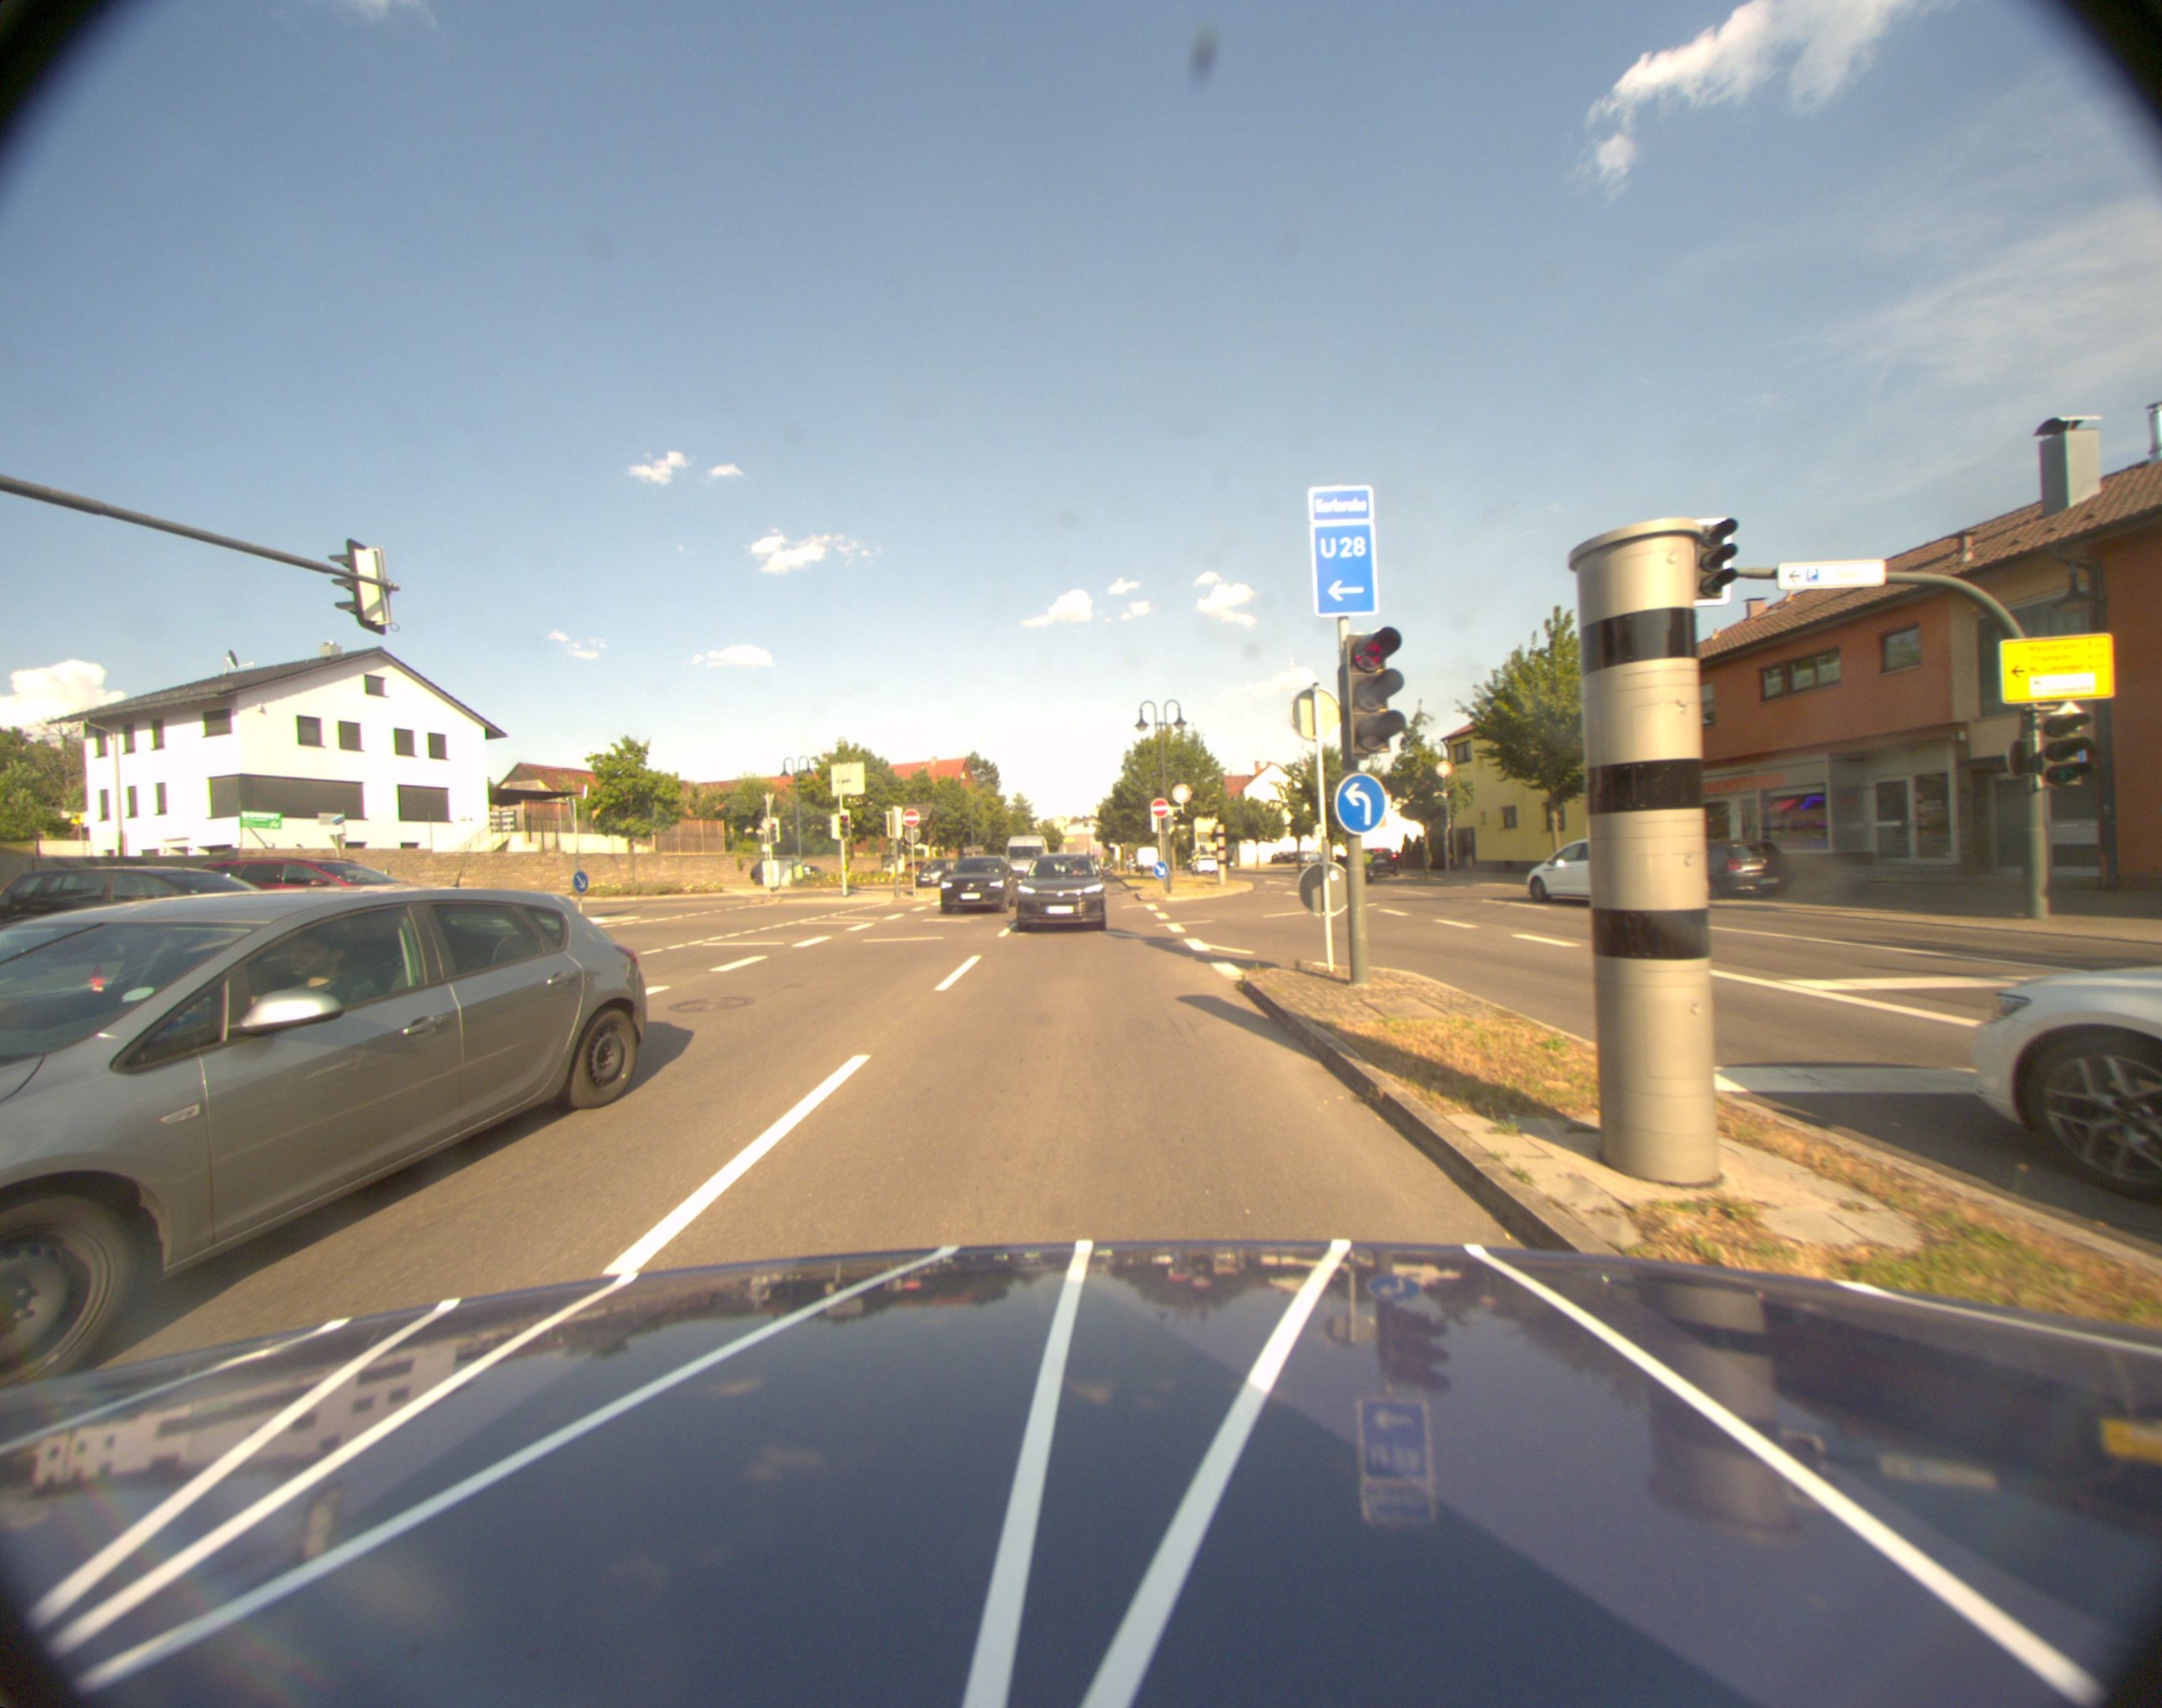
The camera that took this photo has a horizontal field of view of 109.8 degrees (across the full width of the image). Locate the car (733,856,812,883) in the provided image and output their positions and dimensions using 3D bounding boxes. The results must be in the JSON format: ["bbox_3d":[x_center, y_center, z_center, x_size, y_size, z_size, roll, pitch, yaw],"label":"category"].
[{"bbox_3d":[-18.246,0.894,45.006,4.072,1.448,1.680,-2,0,13],"label":"car"}]

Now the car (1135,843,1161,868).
[{"bbox_3d":[7.052,0.154,80.389,2.090,2.461,5.478,-2,0,-2],"label":"car"}]

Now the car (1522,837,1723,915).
[{"bbox_3d":[12.668,0.461,18.189,1.690,1.602,4.413,-2,0,1],"label":"car"}]

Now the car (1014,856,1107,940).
[{"bbox_3d":[-0.362,0.874,16.848,1.768,1.582,4.057,-2,0,1],"label":"car"}]

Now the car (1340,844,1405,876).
[{"bbox_3d":[15.331,0.300,40.221,1.859,1.586,4.461,-2,0,3],"label":"car"}]

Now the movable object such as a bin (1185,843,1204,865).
[{"bbox_3d":[13.152,-0.020,88.280,1.556,2.447,4.978,-1,0,2],"label":"movable object such as a bin"}]

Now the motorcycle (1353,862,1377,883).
[{"bbox_3d":[12.736,0.821,34.099,0.413,0.855,1.763,-2,0,1],"label":"motorcycle"}]

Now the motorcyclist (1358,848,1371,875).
[{"bbox_3d":[12.734,0.328,34.123,0.404,1.221,0.461,-2,0,-2],"label":"motorcyclist"}]

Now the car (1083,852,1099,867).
[{"bbox_3d":[1.347,0.680,98.153,1.816,1.861,4.001,-2,0,3],"label":"car"}]

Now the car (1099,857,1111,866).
[{"bbox_3d":[4.564,1.425,143.338,1.781,1.516,3.842,-2,0,9],"label":"car"}]

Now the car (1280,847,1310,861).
[{"bbox_3d":[24.646,0.013,87.501,3.438,1.555,1.583,-2,0,-38],"label":"car"}]

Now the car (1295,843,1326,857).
[{"bbox_3d":[25.569,-0.458,84.504,3.438,1.534,1.617,-1,0,-38],"label":"car"}]

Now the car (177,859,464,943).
[{"bbox_3d":[-16.630,0.983,16.831,4.251,1.616,1.861,-2,0,-5],"label":"car"}]

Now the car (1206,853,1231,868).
[{"bbox_3d":[13.604,0.639,75.434,1.761,1.403,4.000,-2,0,0],"label":"car"}]

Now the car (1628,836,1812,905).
[{"bbox_3d":[15.978,0.388,19.287,1.595,1.430,3.776,-6,0,5],"label":"car"}]

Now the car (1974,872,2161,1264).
[{"bbox_3d":[5.046,0.813,1.236,1.839,1.480,4.566,-2,0,1],"label":"car"}]

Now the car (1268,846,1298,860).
[{"bbox_3d":[23.821,-0.109,89.537,3.417,1.616,1.857,0,0,-41],"label":"car"}]

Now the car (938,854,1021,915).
[{"bbox_3d":[-2.895,0.835,22.461,1.792,1.596,4.057,-1,0,1],"label":"car"}]

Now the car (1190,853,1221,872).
[{"bbox_3d":[9.745,0.638,59.663,1.761,1.403,4.000,-2,0,0],"label":"car"}]

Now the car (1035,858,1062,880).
[{"bbox_3d":[-2.468,1.156,58.497,1.768,1.582,4.057,-2,0,1],"label":"car"}]

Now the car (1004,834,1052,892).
[{"bbox_3d":[-2.571,0.406,38.363,2.040,2.642,6.647,-1,0,-2],"label":"car"}]

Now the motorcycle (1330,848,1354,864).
[{"bbox_3d":[22.685,0.156,66.068,0.489,1.314,2.114,-2,-1,-30],"label":"motorcycle"}]

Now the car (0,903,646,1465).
[{"bbox_3d":[-3.864,1.031,3.147,1.651,1.414,4.144,0,0,1],"label":"car"}]

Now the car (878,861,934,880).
[{"bbox_3d":[-14.100,1.324,61.280,3.994,1.422,1.749,-2,0,9],"label":"car"}]

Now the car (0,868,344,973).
[{"bbox_3d":[-15.463,1.065,12.991,3.799,1.533,1.597,-1,1,-10],"label":"car"}]
